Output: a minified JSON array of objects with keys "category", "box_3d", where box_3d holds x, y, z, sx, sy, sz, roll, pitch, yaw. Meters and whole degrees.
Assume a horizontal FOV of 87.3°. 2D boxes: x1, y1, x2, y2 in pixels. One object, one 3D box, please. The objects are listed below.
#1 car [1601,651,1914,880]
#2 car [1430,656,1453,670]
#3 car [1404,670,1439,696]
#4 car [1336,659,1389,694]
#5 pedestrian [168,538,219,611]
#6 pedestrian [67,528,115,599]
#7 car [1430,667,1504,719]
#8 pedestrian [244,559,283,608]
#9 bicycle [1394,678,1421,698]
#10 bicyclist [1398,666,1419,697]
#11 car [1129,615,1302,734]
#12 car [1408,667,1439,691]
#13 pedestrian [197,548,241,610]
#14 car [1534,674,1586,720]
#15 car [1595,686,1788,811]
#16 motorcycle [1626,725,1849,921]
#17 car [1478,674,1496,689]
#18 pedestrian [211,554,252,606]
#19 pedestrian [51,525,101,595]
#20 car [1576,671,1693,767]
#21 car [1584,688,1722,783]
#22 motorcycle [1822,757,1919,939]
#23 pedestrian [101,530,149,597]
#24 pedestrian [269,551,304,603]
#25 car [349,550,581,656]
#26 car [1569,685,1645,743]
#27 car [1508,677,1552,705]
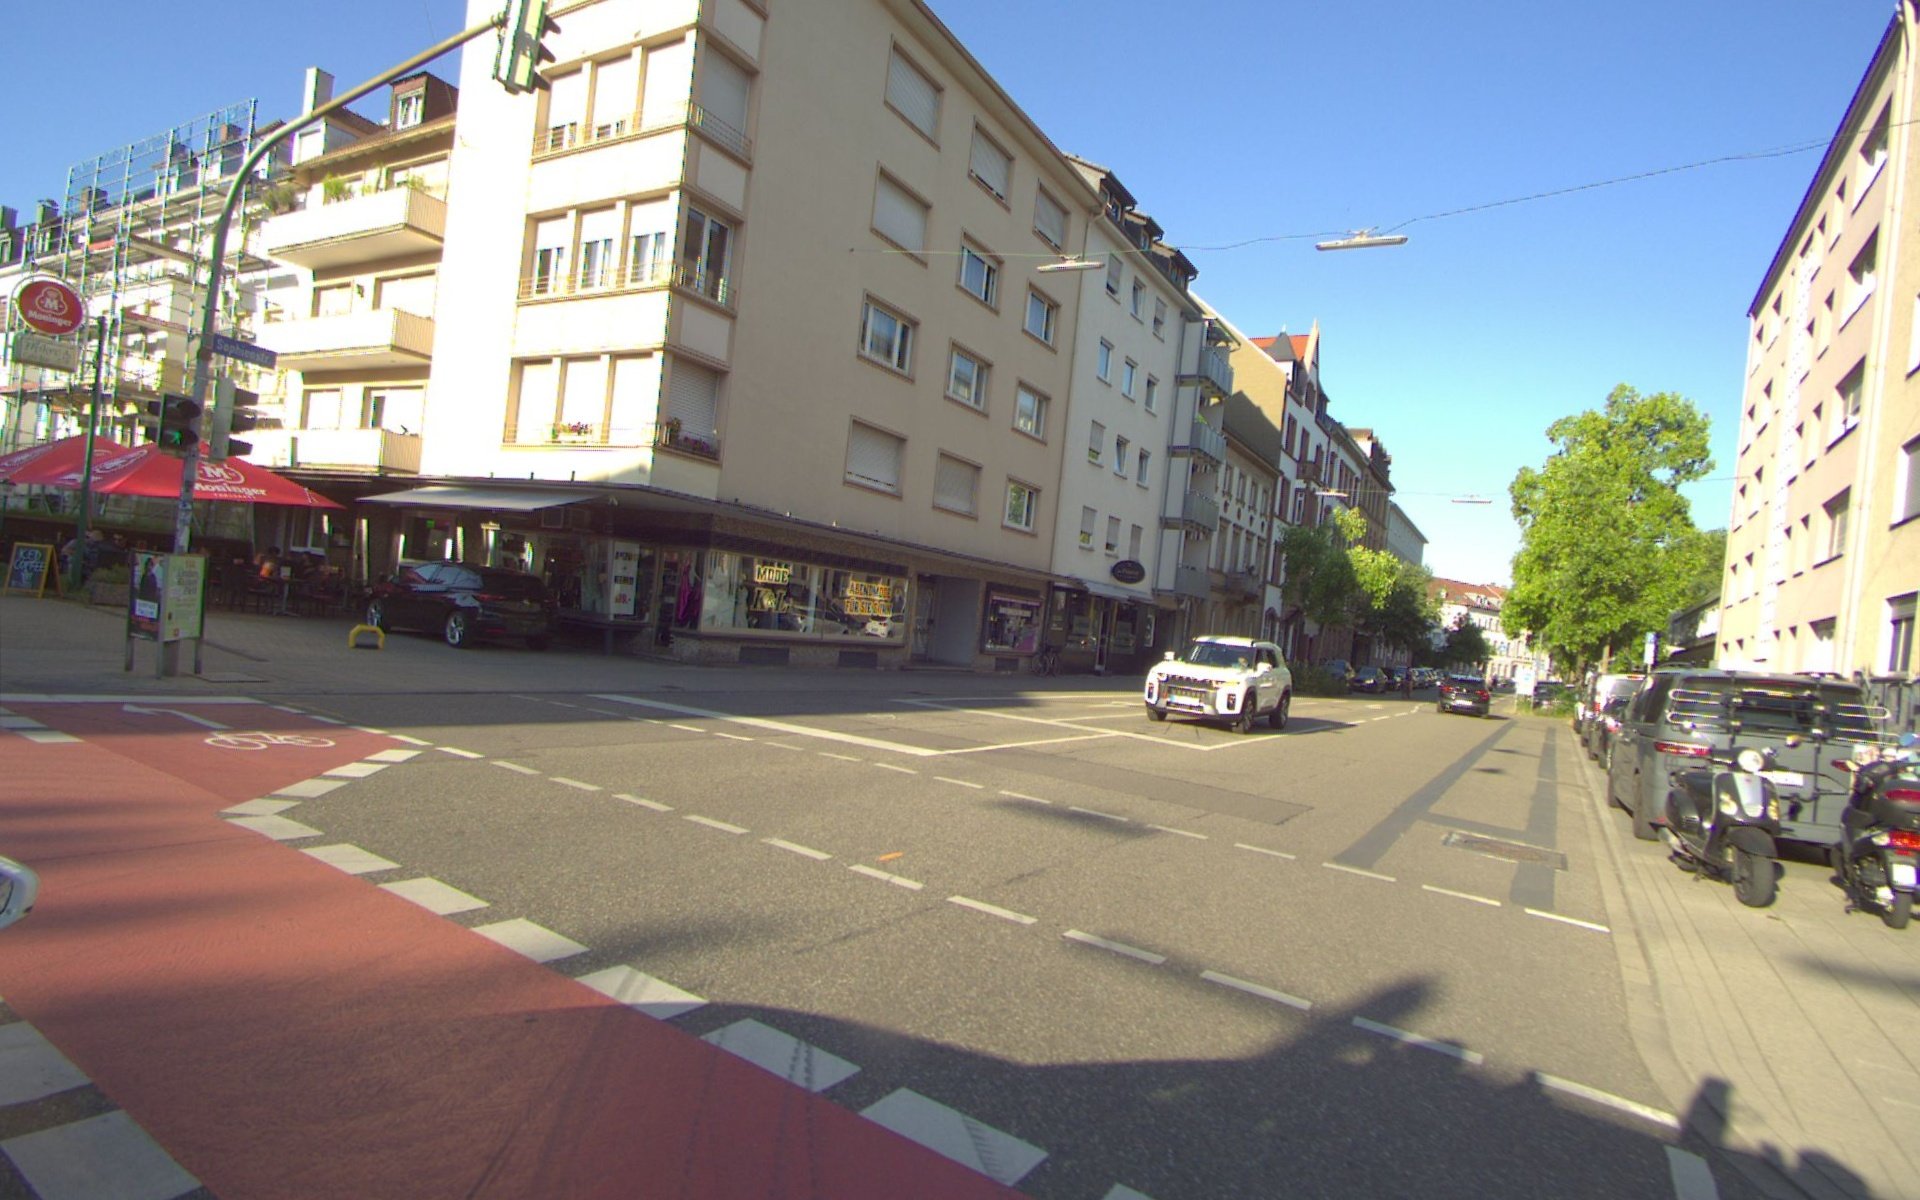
[{"category":"car","box_3d":[8.784,1.677,11.585,1.920,1.888,4.838,4,-2,29]},{"category":"car","box_3d":[67.398,8.803,140.896,1.924,1.680,4.339,5,-1,38]},{"category":"car","box_3d":[32.248,5.833,70.284,1.626,1.578,3.647,6,-1,32]},{"category":"car","box_3d":[22.597,4.313,56.346,1.921,1.680,4.346,6,-1,32]},{"category":"pedestrian","box_3d":[-14.454,-0.475,18.969,0.532,1.298,0.524,5,-1,34]},{"category":"pedestrian","box_3d":[-15.110,-0.640,17.500,0.622,1.164,0.412,5,-1,36]},{"category":"car","box_3d":[19.944,3.643,39.503,1.922,1.680,4.343,6,-1,35]},{"category":"pedestrian","box_3d":[-15.304,-0.356,22.094,0.407,1.002,0.524,5,-1,37]},{"category":"bicycle","box_3d":[23.646,4.638,53.087,0.733,0.932,2.391,6,-1,36]},{"category":"bicyclist","box_3d":[23.653,4.303,53.045,0.733,1.521,0.879,6,0,37]},{"category":"car","box_3d":[5.041,1.422,19.386,1.921,1.860,4.347,6,-1,31]},{"category":"car","box_3d":[35.695,6.099,77.481,1.626,1.629,3.647,6,-1,32]},{"category":"pedestrian","box_3d":[-14.804,-0.414,20.090,0.407,1.164,0.524,5,-1,37]},{"category":"car","box_3d":[28.559,4.596,47.969,1.920,1.860,4.348,6,-1,30]},{"category":"car","box_3d":[11.938,2.321,16.748,1.920,1.559,4.616,4,-2,29]},{"category":"motorcycle","box_3d":[6.305,1.740,8.311,0.760,1.215,1.993,6,-2,19]},{"category":"car","box_3d":[65.151,10.101,124.366,1.624,1.629,3.652,6,-1,26]},{"category":"pedestrian","box_3d":[-15.671,-0.428,21.639,0.407,1.061,0.524,5,-1,37]},{"category":"pedestrian","box_3d":[-15.871,-0.716,18.062,0.518,1.164,0.493,5,-1,36]},{"category":"car","box_3d":[16.694,2.868,25.121,1.920,1.930,5.069,6,-1,30]},{"category":"car","box_3d":[14.278,2.713,20.954,1.920,1.559,4.285,4,-2,30]},{"category":"motorcycle","box_3d":[7.079,1.826,7.549,0.585,1.125,1.696,5,-2,32]},{"category":"pedestrian","box_3d":[-15.467,-0.677,18.638,0.518,1.164,0.486,5,-1,36]},{"category":"pedestrian","box_3d":[-16.366,-0.566,24.438,0.407,1.203,0.524,4,-2,37]},{"category":"car","box_3d":[-9.123,0.041,18.463,4.135,1.502,1.830,5,-1,32]},{"category":"car","box_3d":[22.969,3.995,35.852,1.920,1.680,4.348,6,-1,30]},{"category":"car","box_3d":[39.801,6.359,70.227,1.924,1.680,4.339,5,-1,38]}]
